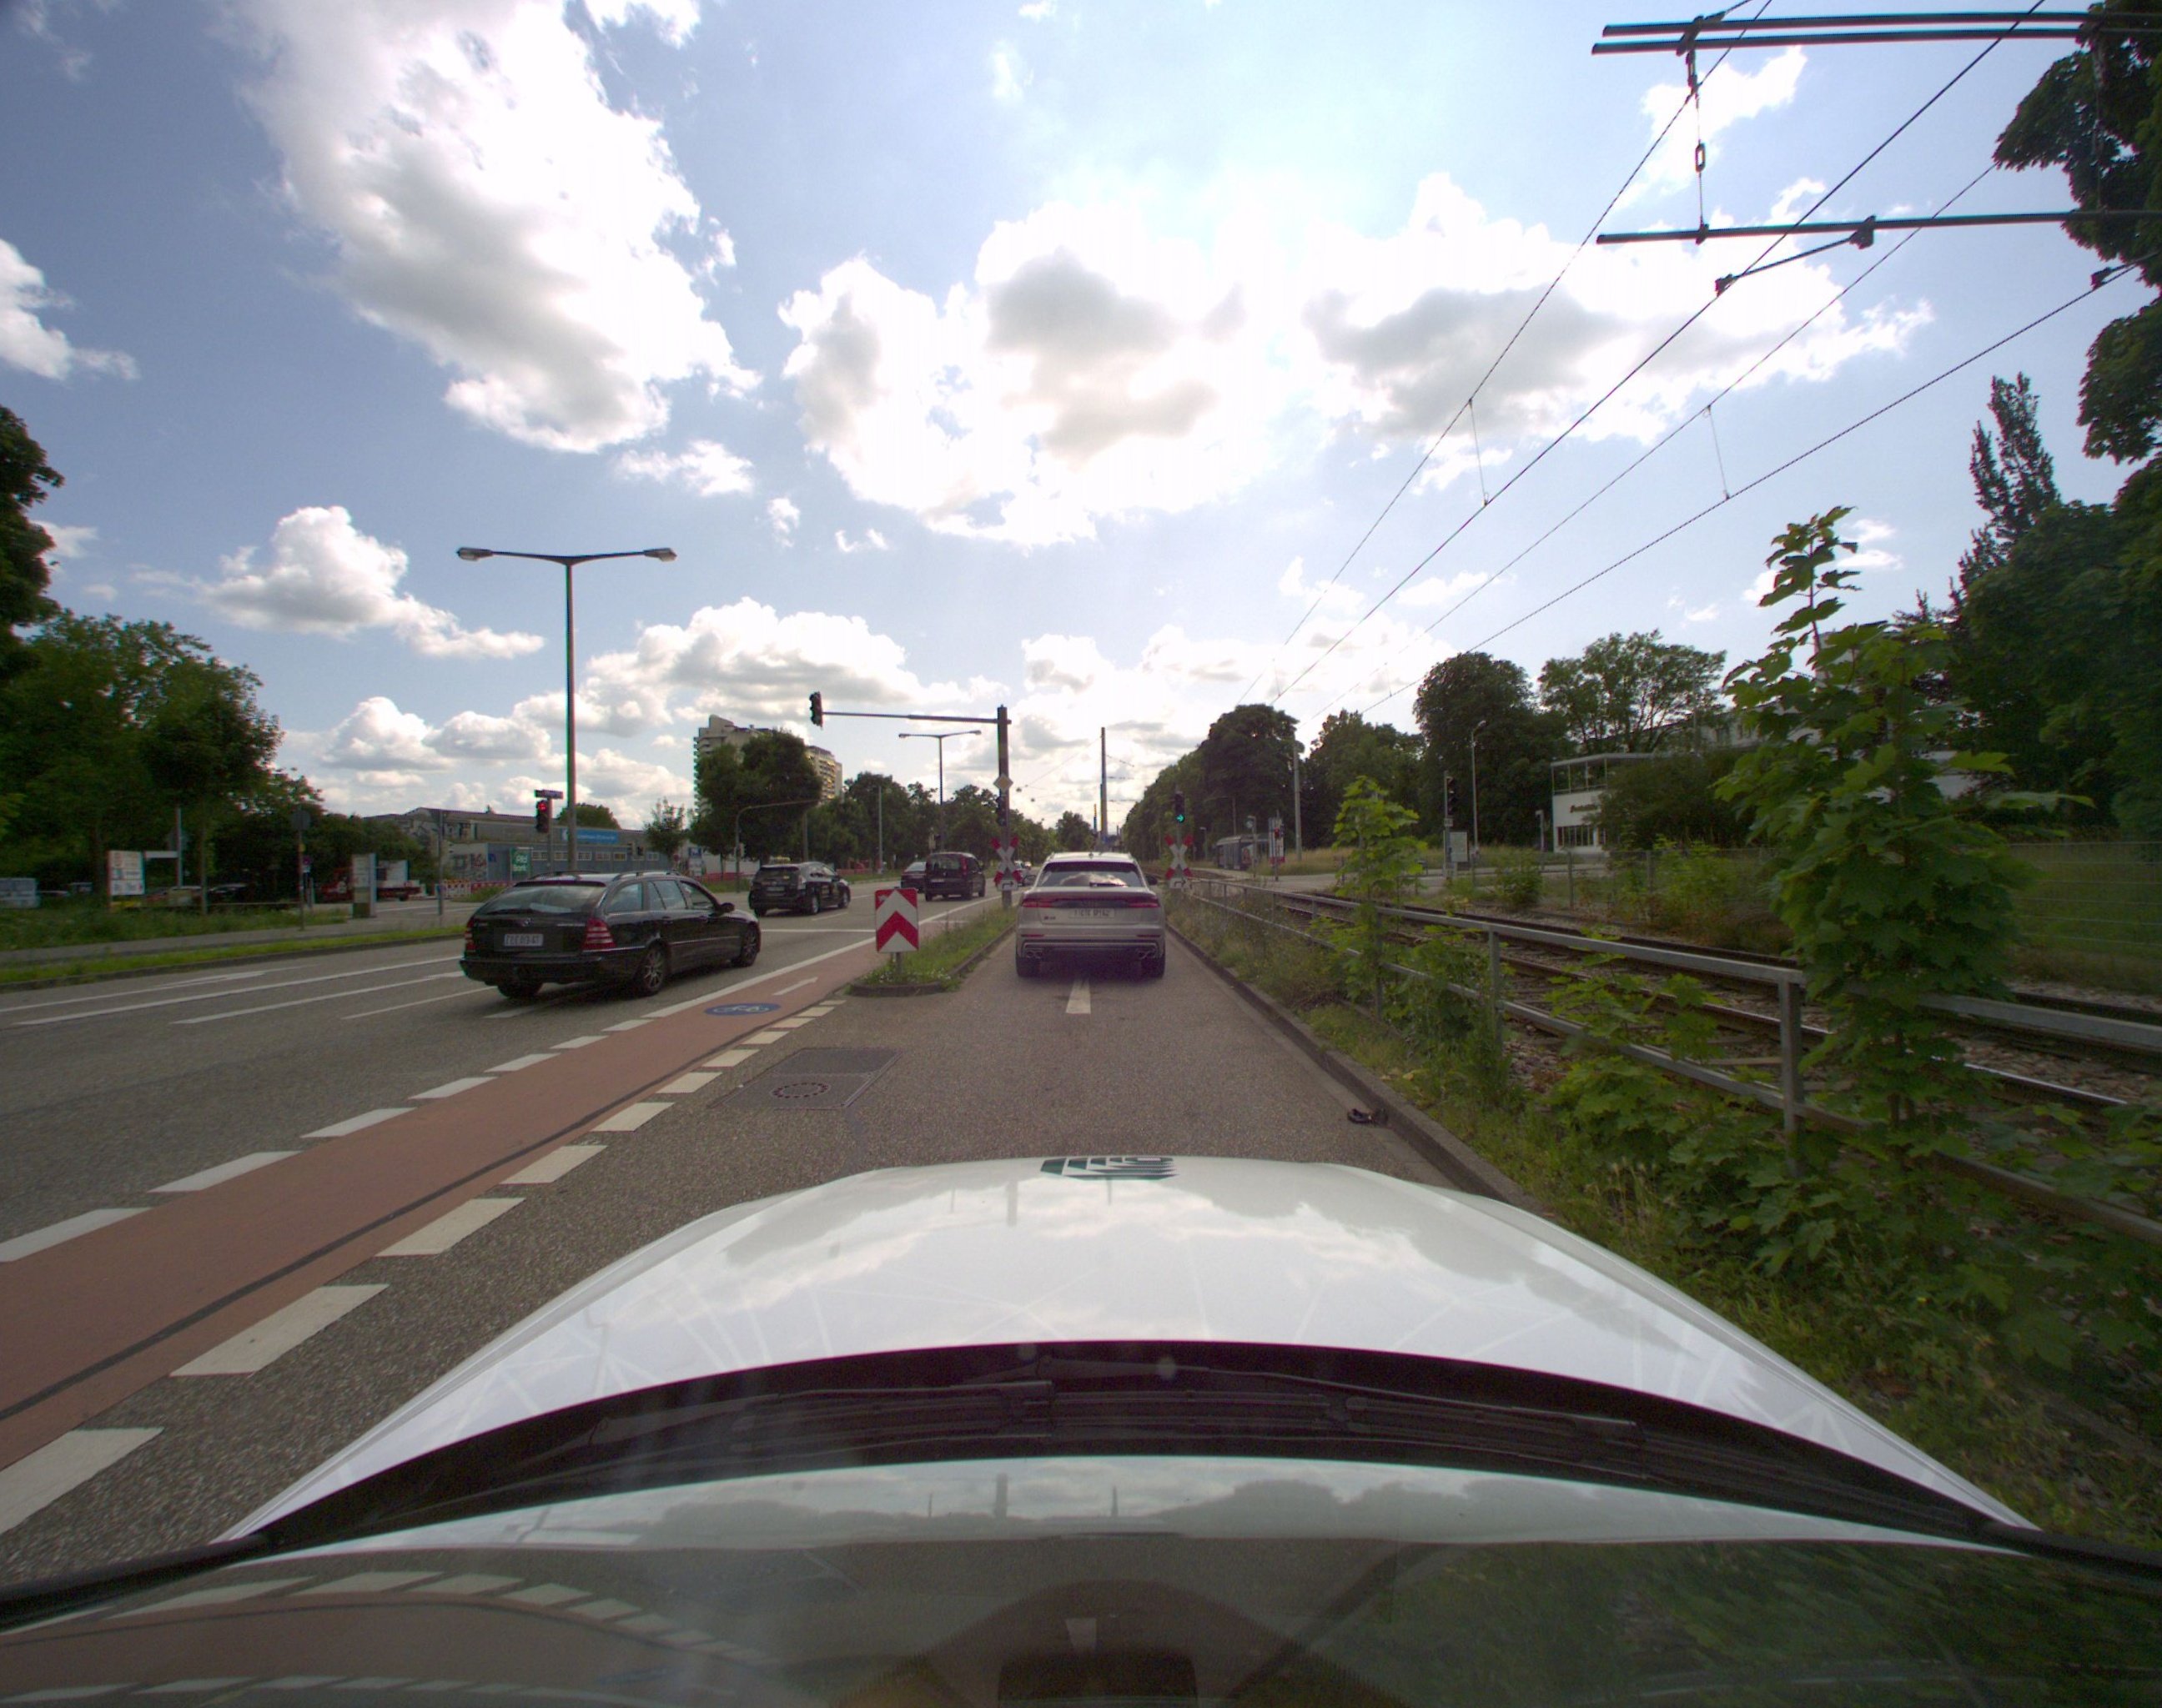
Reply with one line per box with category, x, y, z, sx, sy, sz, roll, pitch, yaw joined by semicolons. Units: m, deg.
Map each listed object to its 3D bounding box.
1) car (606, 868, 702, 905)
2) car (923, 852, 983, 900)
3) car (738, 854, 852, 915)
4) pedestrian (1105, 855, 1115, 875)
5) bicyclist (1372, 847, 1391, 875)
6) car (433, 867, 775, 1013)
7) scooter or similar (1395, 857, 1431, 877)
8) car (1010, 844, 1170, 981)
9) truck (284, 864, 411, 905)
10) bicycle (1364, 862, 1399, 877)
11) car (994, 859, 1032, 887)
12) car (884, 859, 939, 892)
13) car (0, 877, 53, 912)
car;-18.634;1.383;35.773;1.794;1.432;4.495;-2;0;0
car;-4.941;0.833;31.951;1.754;1.777;3.908;0;-1;0
car;-8.573;0.873;24.857;1.778;1.668;4.343;0;-1;3
pedestrian;2.290;0.867;64.646;0.653;1.513;0.716;-2;-1;-8
bicyclist;16.284;0.383;44.097;0.835;1.475;0.456;-2;-1;3
car;-5.709;0.916;10.549;1.749;1.466;4.433;0;-1;1
scooter or similar;17.895;0.688;43.939;1.568;0.979;0.963;-2;-1;3
car;0.183;0.757;12.387;1.974;1.684;4.575;0;-1;2
truck;-47.498;1.959;52.751;6.906;2.439;3.054;-2;-1;19
bicycle;16.252;0.823;44.061;1.714;0.765;0.556;-1;-1;3
car;-3.877;1.054;47.045;1.779;1.525;4.301;0;-1;1
car;-8.181;1.016;39.619;1.859;1.505;3.998;0;-1;-1
car;-58.439;2.186;44.314;3.578;1.793;1.946;-1;-1;18
